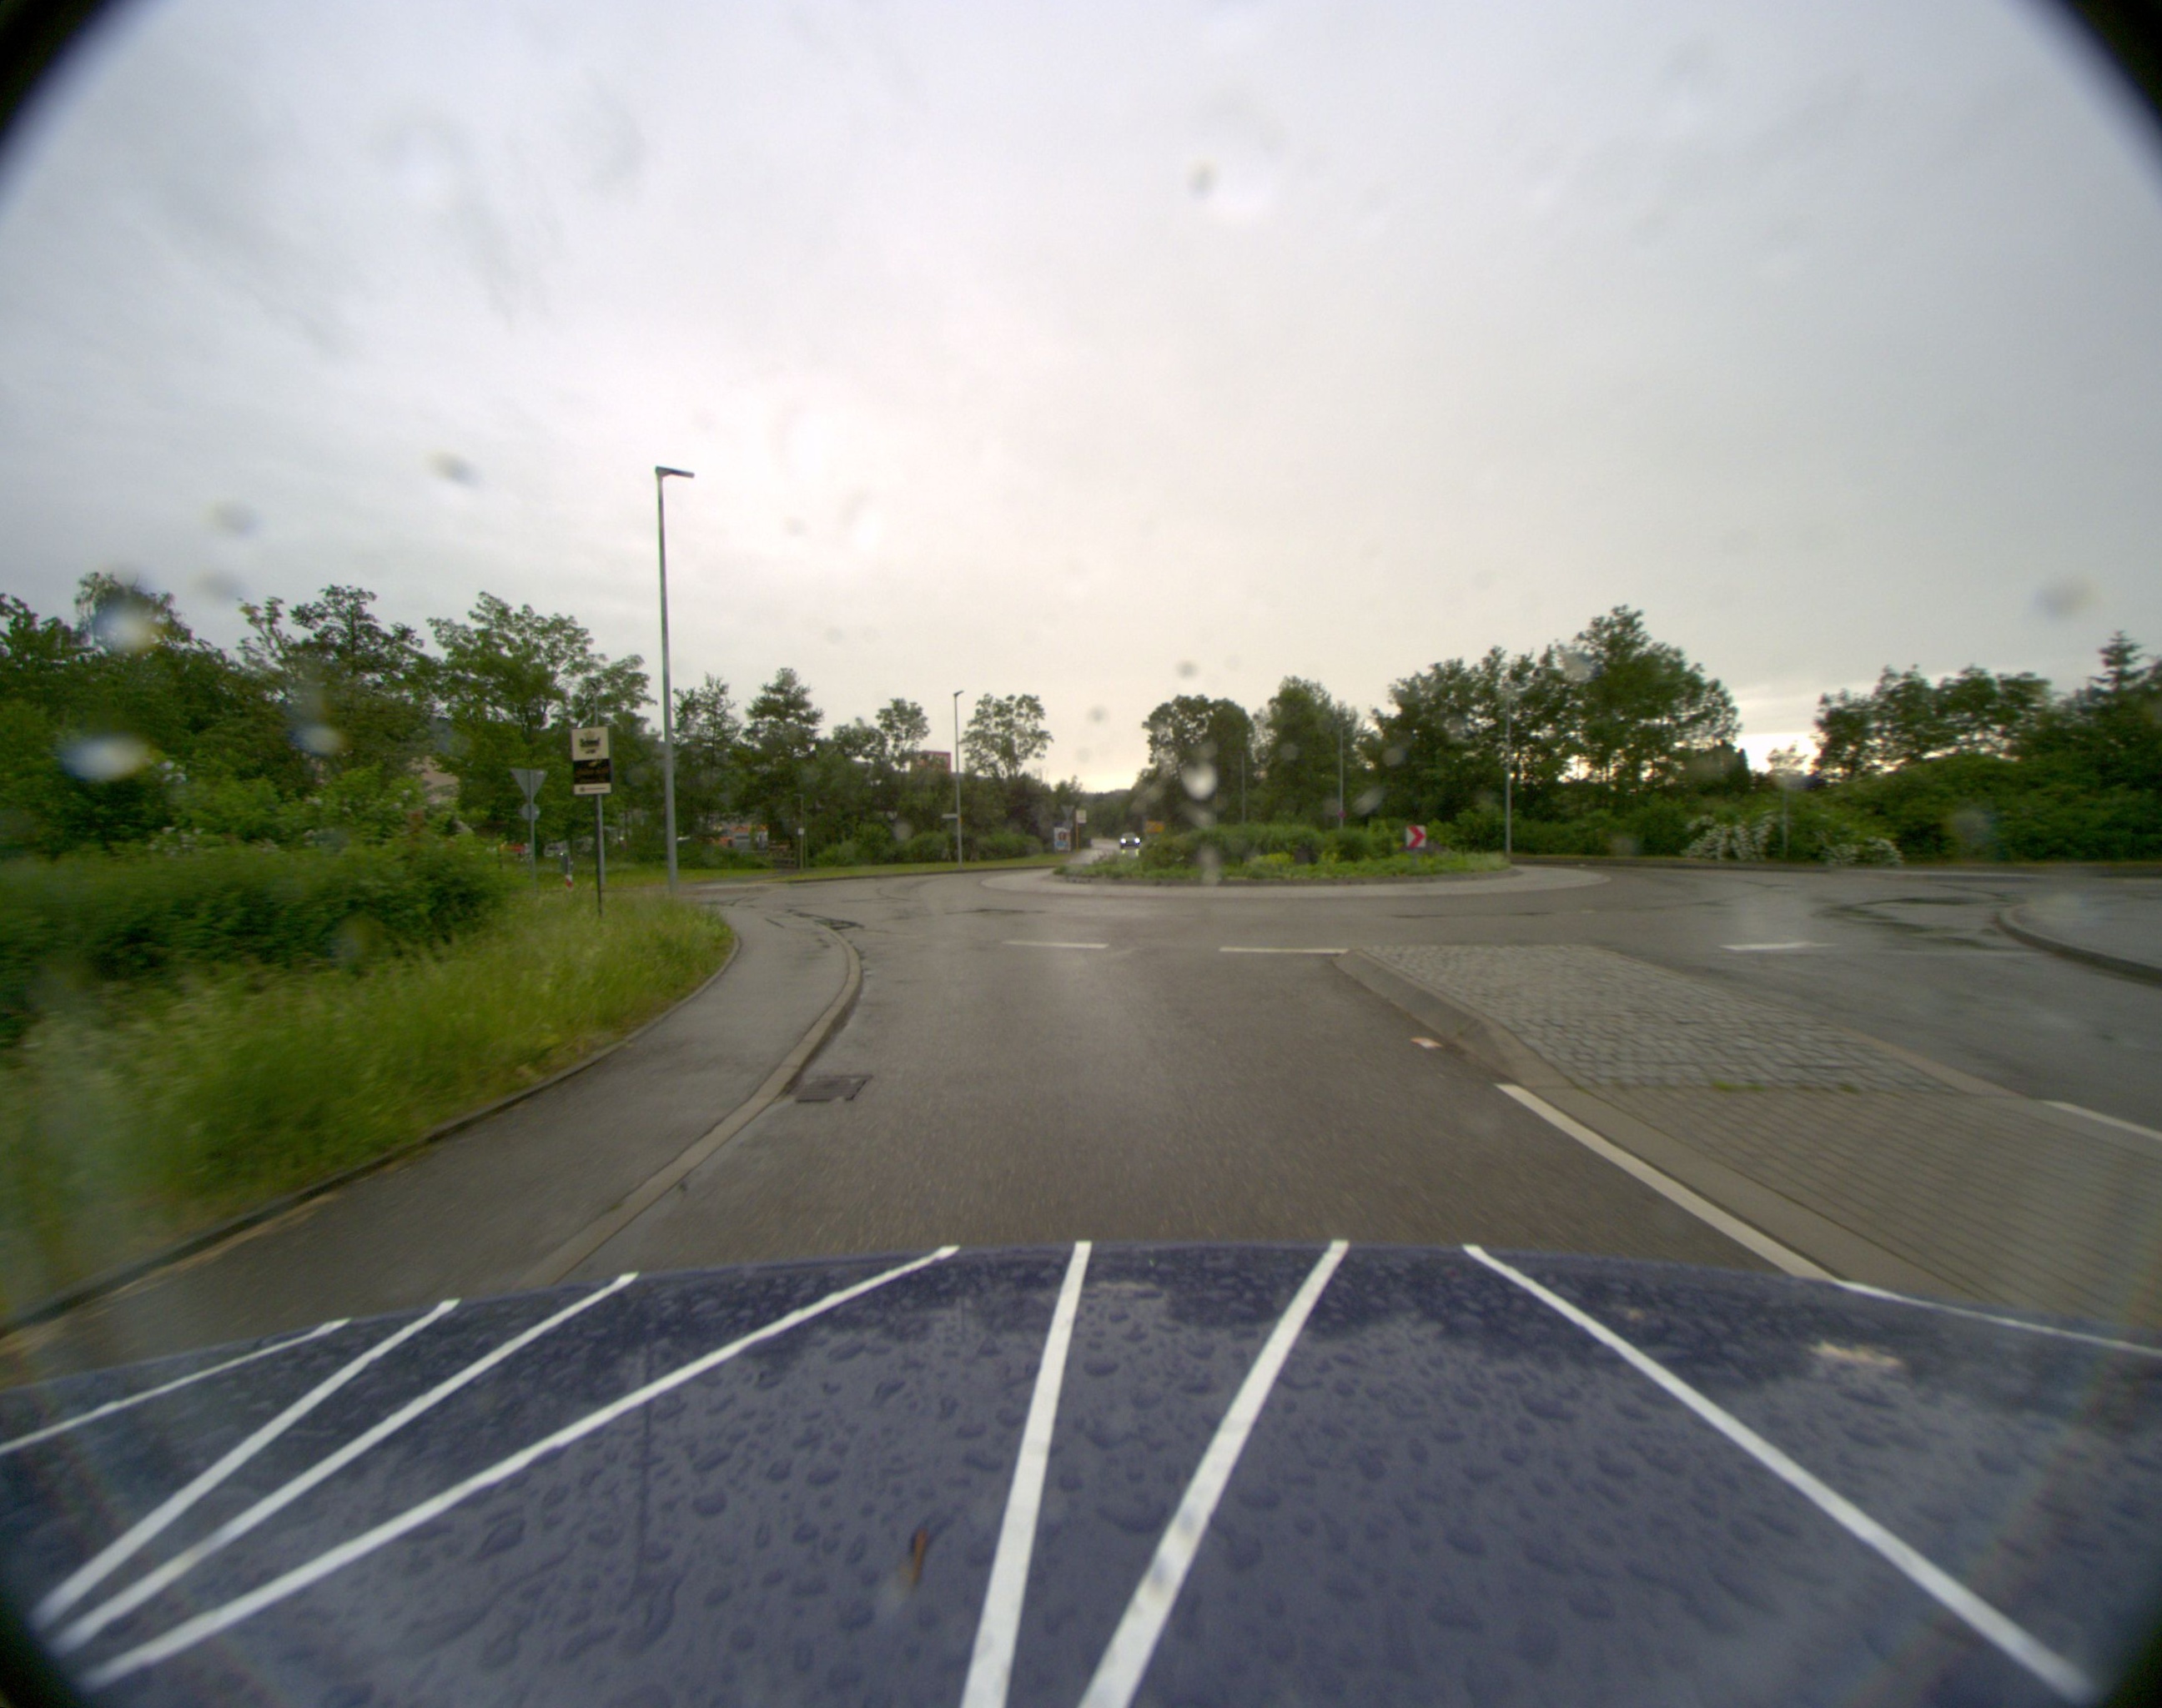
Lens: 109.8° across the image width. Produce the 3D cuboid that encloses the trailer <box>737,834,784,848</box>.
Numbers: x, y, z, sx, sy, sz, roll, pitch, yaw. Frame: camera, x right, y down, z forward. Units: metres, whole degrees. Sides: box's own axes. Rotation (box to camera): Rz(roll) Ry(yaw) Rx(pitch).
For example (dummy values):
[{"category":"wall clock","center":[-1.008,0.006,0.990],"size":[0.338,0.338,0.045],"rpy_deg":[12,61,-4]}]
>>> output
[{"category":"trailer","center":[-50.133,-1.988,118.869],"size":[6.643,2.003,2.571],"rpy_deg":[-2,3,-22]}]

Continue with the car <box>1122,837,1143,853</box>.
[{"category":"car","center":[5.159,-0.904,76.585],"size":[1.856,1.481,4.119],"rpy_deg":[-1,1,-1]}]
